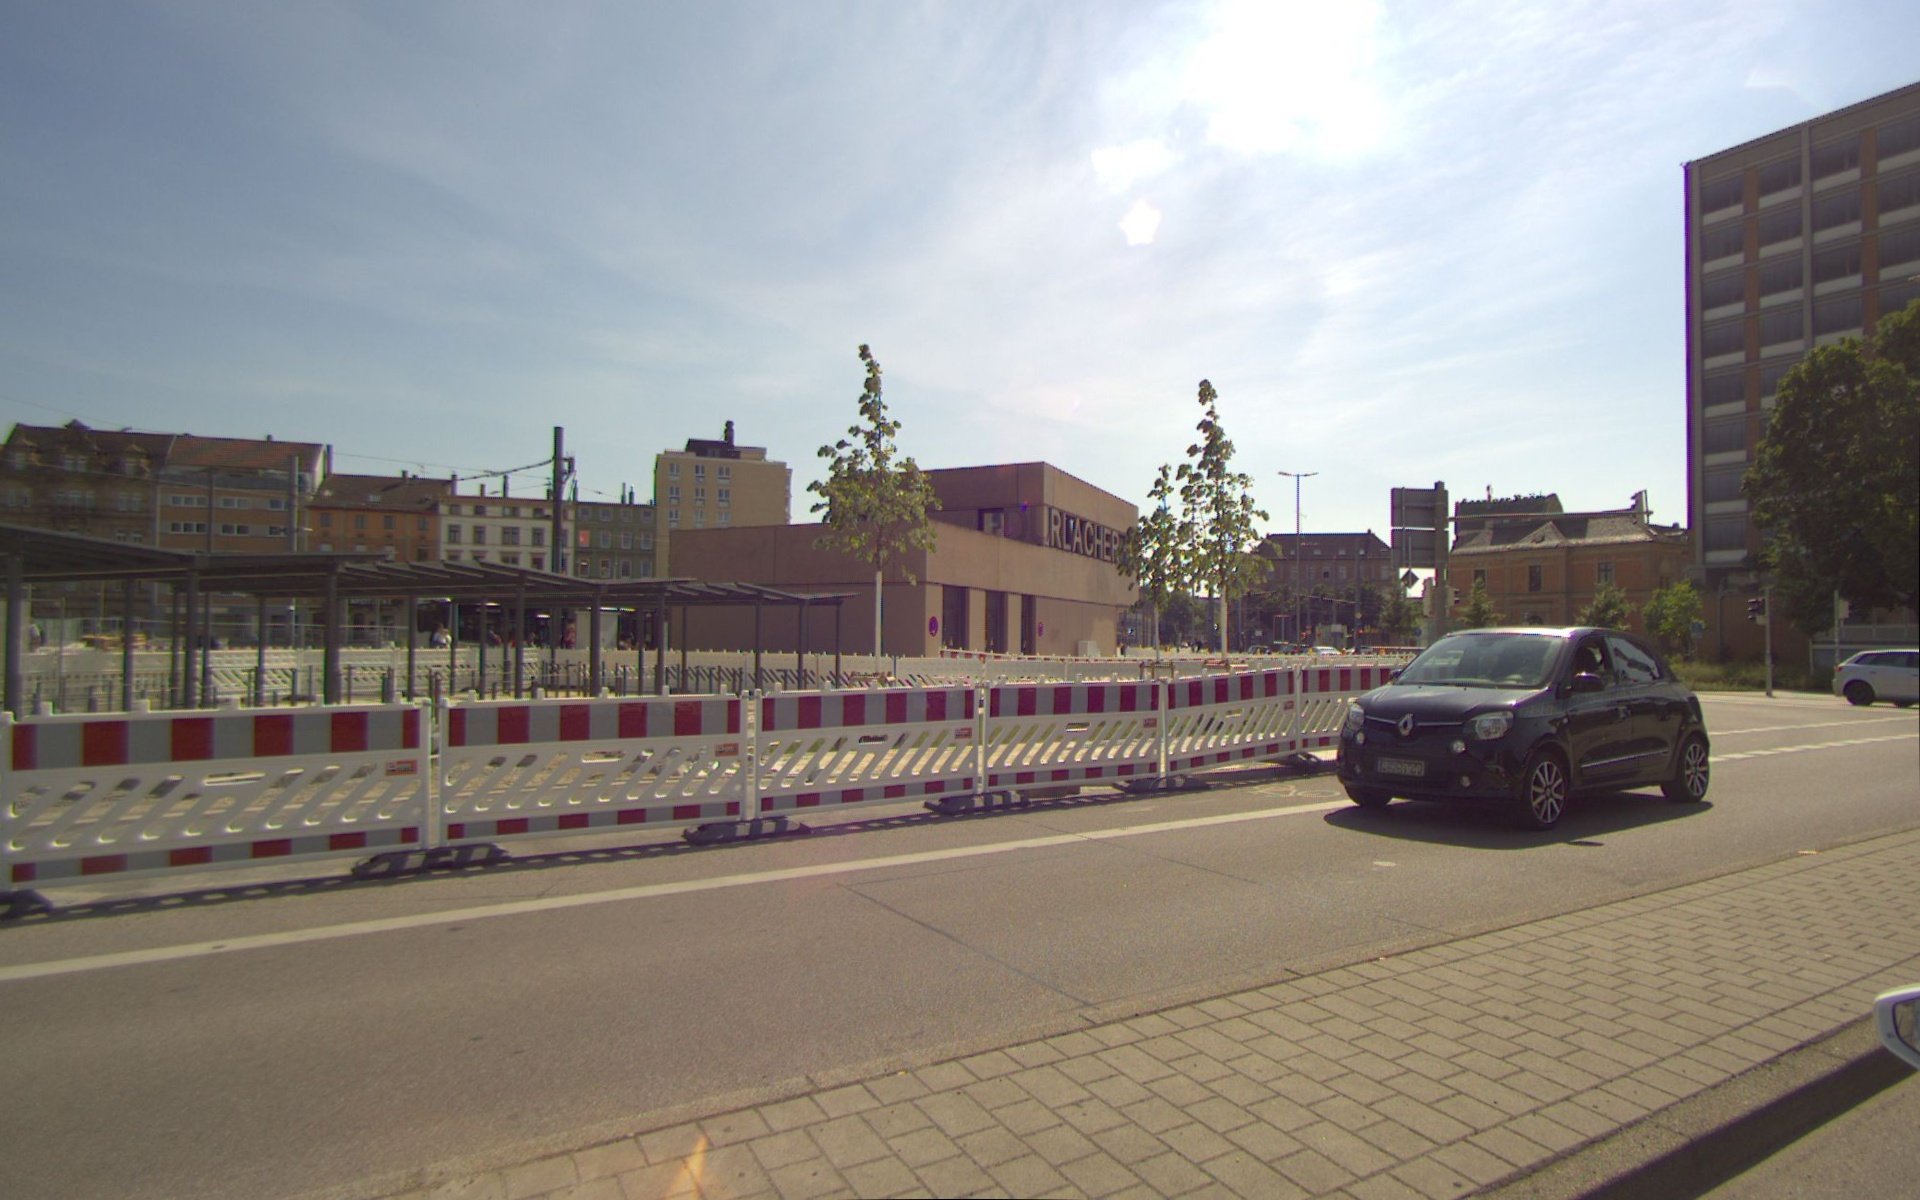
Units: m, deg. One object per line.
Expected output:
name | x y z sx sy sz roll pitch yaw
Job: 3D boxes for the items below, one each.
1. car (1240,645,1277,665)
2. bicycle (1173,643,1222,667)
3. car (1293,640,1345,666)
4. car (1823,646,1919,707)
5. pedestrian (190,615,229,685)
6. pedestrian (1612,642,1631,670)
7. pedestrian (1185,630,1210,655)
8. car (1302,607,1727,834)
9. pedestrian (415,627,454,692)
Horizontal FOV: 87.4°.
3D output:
car | 23.797 4.366 80.225 1.764 1.530 4.001 1 -2 1
bicycle | 20.034 4.630 84.737 3.672 1.803 1.498 2 0 -1
car | 25.970 3.805 72.765 1.963 1.839 3.996 1 -2 -7
car | 23.389 1.822 23.896 1.558 1.438 4.160 1 -2 -15
pedestrian | -22.543 1.496 30.175 0.807 2.040 0.684 -1 -3 35
pedestrian | 40.407 3.403 61.366 0.637 1.683 0.650 2 0 -3
pedestrian | 20.039 3.568 84.702 1.619 2.040 1.527 2 0 -2
car | 4.863 0.933 8.731 3.592 1.594 1.653 2 -4 -32
pedestrian | -13.208 1.479 25.248 0.563 1.602 0.615 -1 -2 24
